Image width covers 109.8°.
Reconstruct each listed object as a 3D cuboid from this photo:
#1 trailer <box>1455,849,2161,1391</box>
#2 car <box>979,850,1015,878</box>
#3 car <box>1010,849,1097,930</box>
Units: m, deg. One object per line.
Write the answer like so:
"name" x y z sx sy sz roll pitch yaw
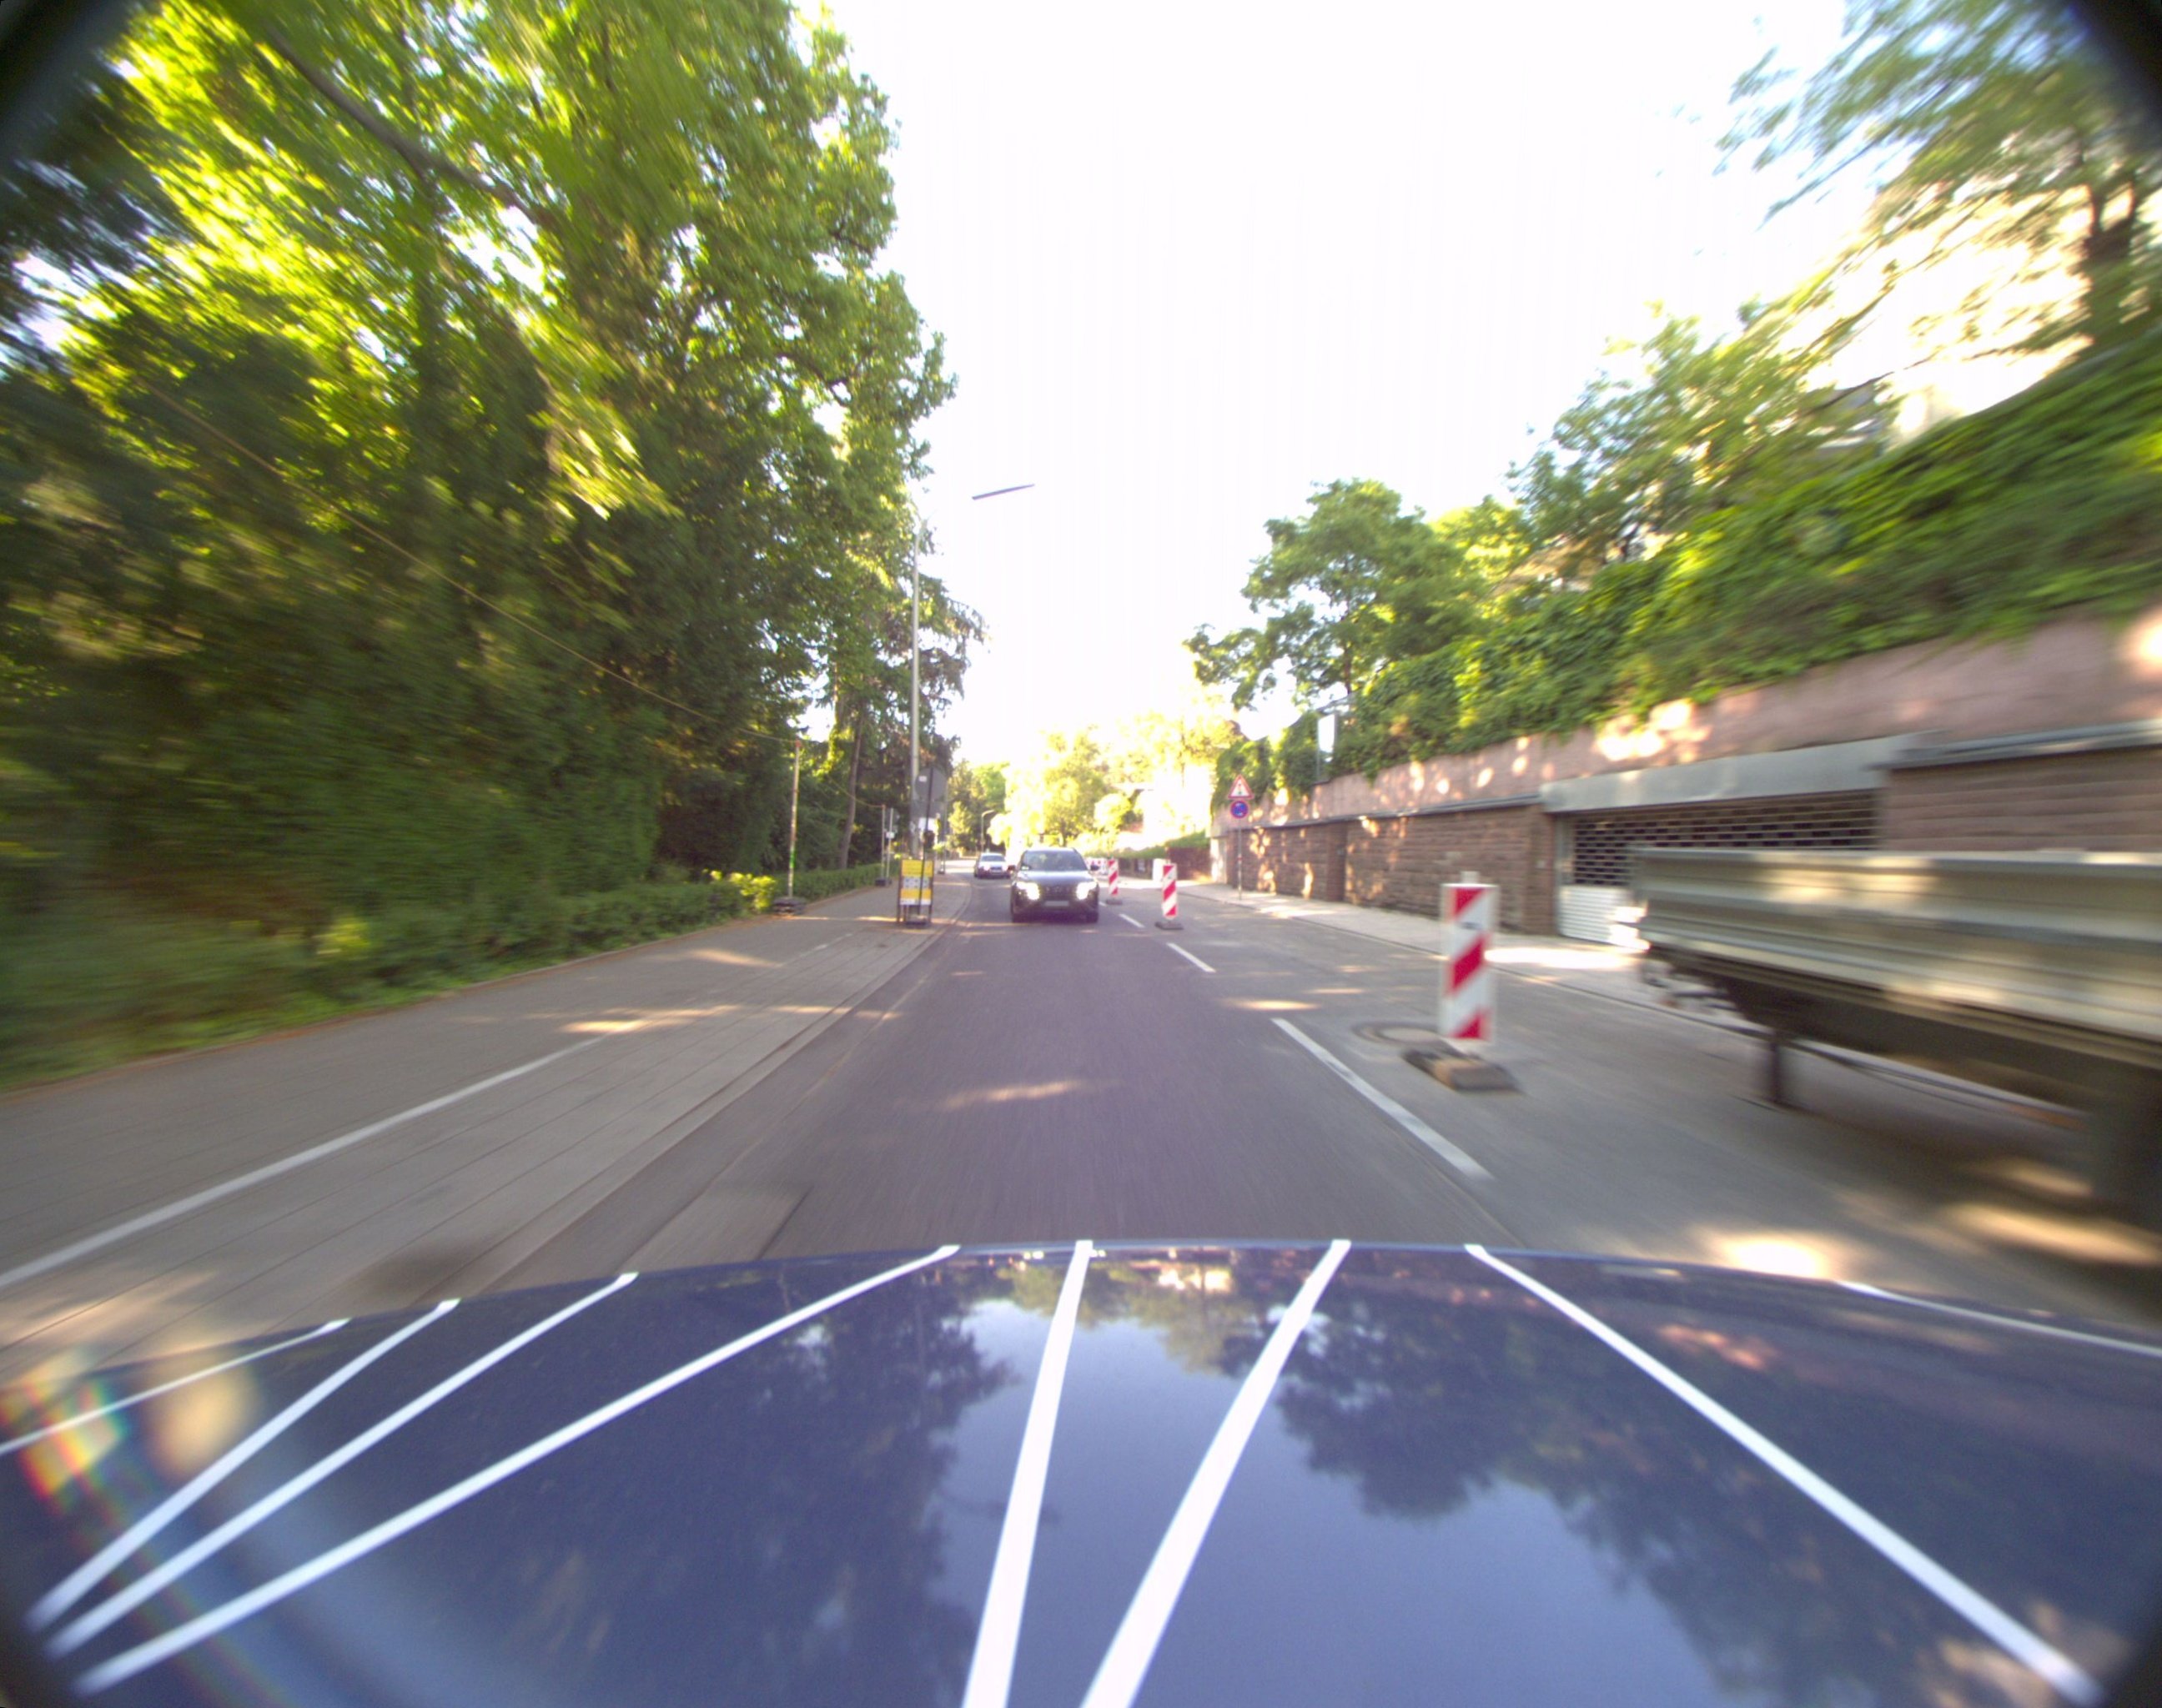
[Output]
"trailer" 4.404 0.777 2.570 2.647 1.481 7.116 -1 1 -1
"car" -4.925 0.550 44.248 1.664 1.468 3.678 -1 1 -12
"car" -0.747 0.702 17.699 1.789 1.639 4.472 0 1 -5
